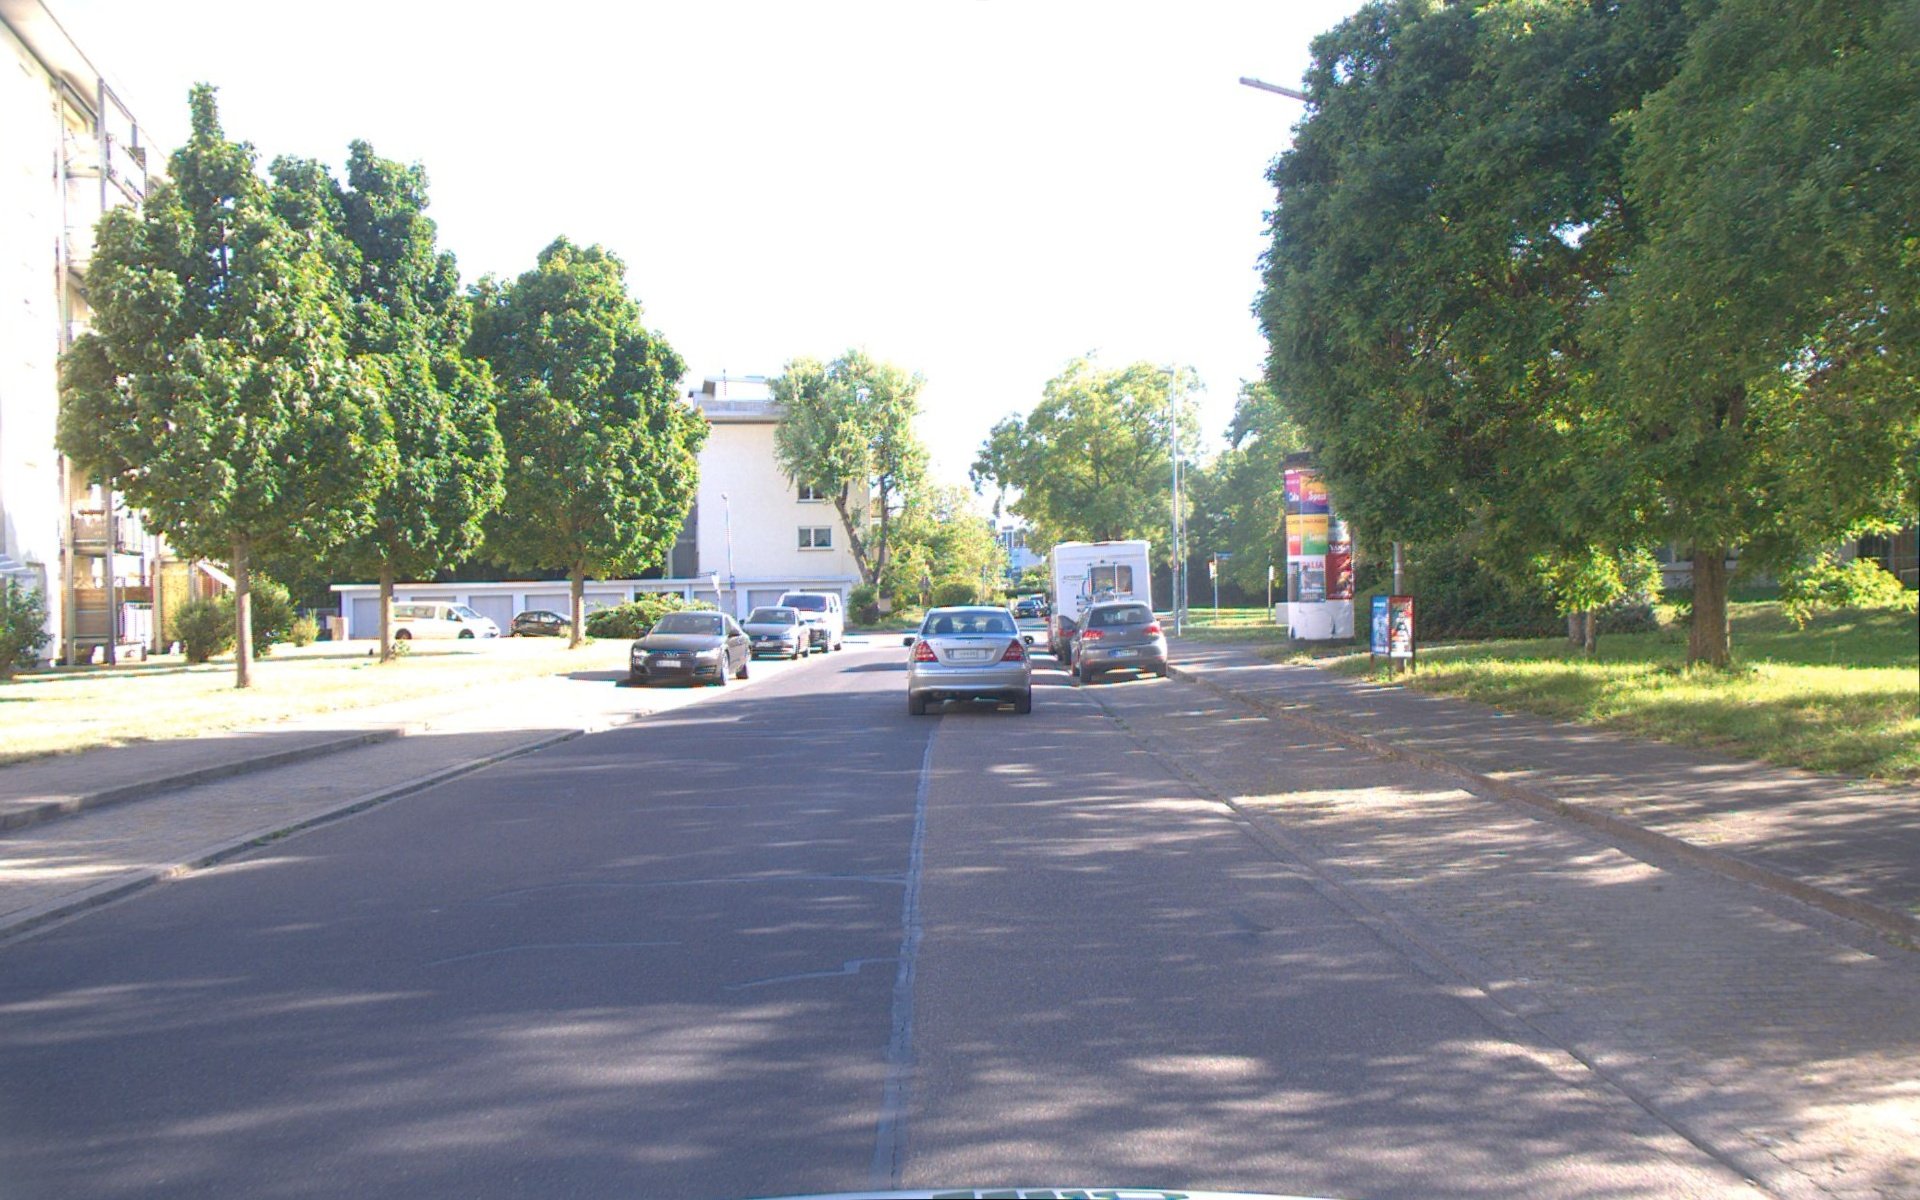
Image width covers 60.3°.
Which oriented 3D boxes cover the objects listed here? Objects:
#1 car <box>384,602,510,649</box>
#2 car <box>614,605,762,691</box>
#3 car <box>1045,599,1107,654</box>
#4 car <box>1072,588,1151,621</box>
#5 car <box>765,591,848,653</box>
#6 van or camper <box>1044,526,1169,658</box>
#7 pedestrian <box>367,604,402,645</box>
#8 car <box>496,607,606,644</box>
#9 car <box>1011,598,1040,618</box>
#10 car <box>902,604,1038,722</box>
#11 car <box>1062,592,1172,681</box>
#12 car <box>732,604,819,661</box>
[{"bbox_3d":[-23.617,1.161,76.203,4.996,1.985,2.239,-2,0,9],"label":"car"},{"bbox_3d":[-5.438,0.918,33.778,1.993,1.519,5.257,-2,0,1],"label":"car"},{"bbox_3d":[3.432,0.756,49.438,1.656,1.500,4.001,-2,0,2],"label":"car"},{"bbox_3d":[9.666,0.279,105.476,4.785,1.957,2.000,-2,0,-1],"label":"car"},{"bbox_3d":[-4.897,0.684,53.476,1.972,1.918,5.192,0,0,2],"label":"car"},{"bbox_3d":[3.461,-0.196,40.584,2.445,2.895,6.852,-2,0,1],"label":"van or camper"},{"bbox_3d":[-29.855,1.281,85.845,1.445,2.049,1.094,-2,0,-8],"label":"pedestrian"},{"bbox_3d":[-18.633,1.153,75.455,4.347,1.486,2.045,-2,0,8],"label":"car"},{"bbox_3d":[5.515,0.656,138.520,1.872,1.516,3.840,-4,-1,9],"label":"car"},{"bbox_3d":[0.196,0.827,22.931,1.697,1.459,3.439,-2,-1,2],"label":"car"},{"bbox_3d":[3.107,0.675,33.474,1.685,1.550,4.428,-5,0,0],"label":"car"},{"bbox_3d":[-5.182,0.884,46.943,1.795,1.544,4.223,0,0,2],"label":"car"}]
